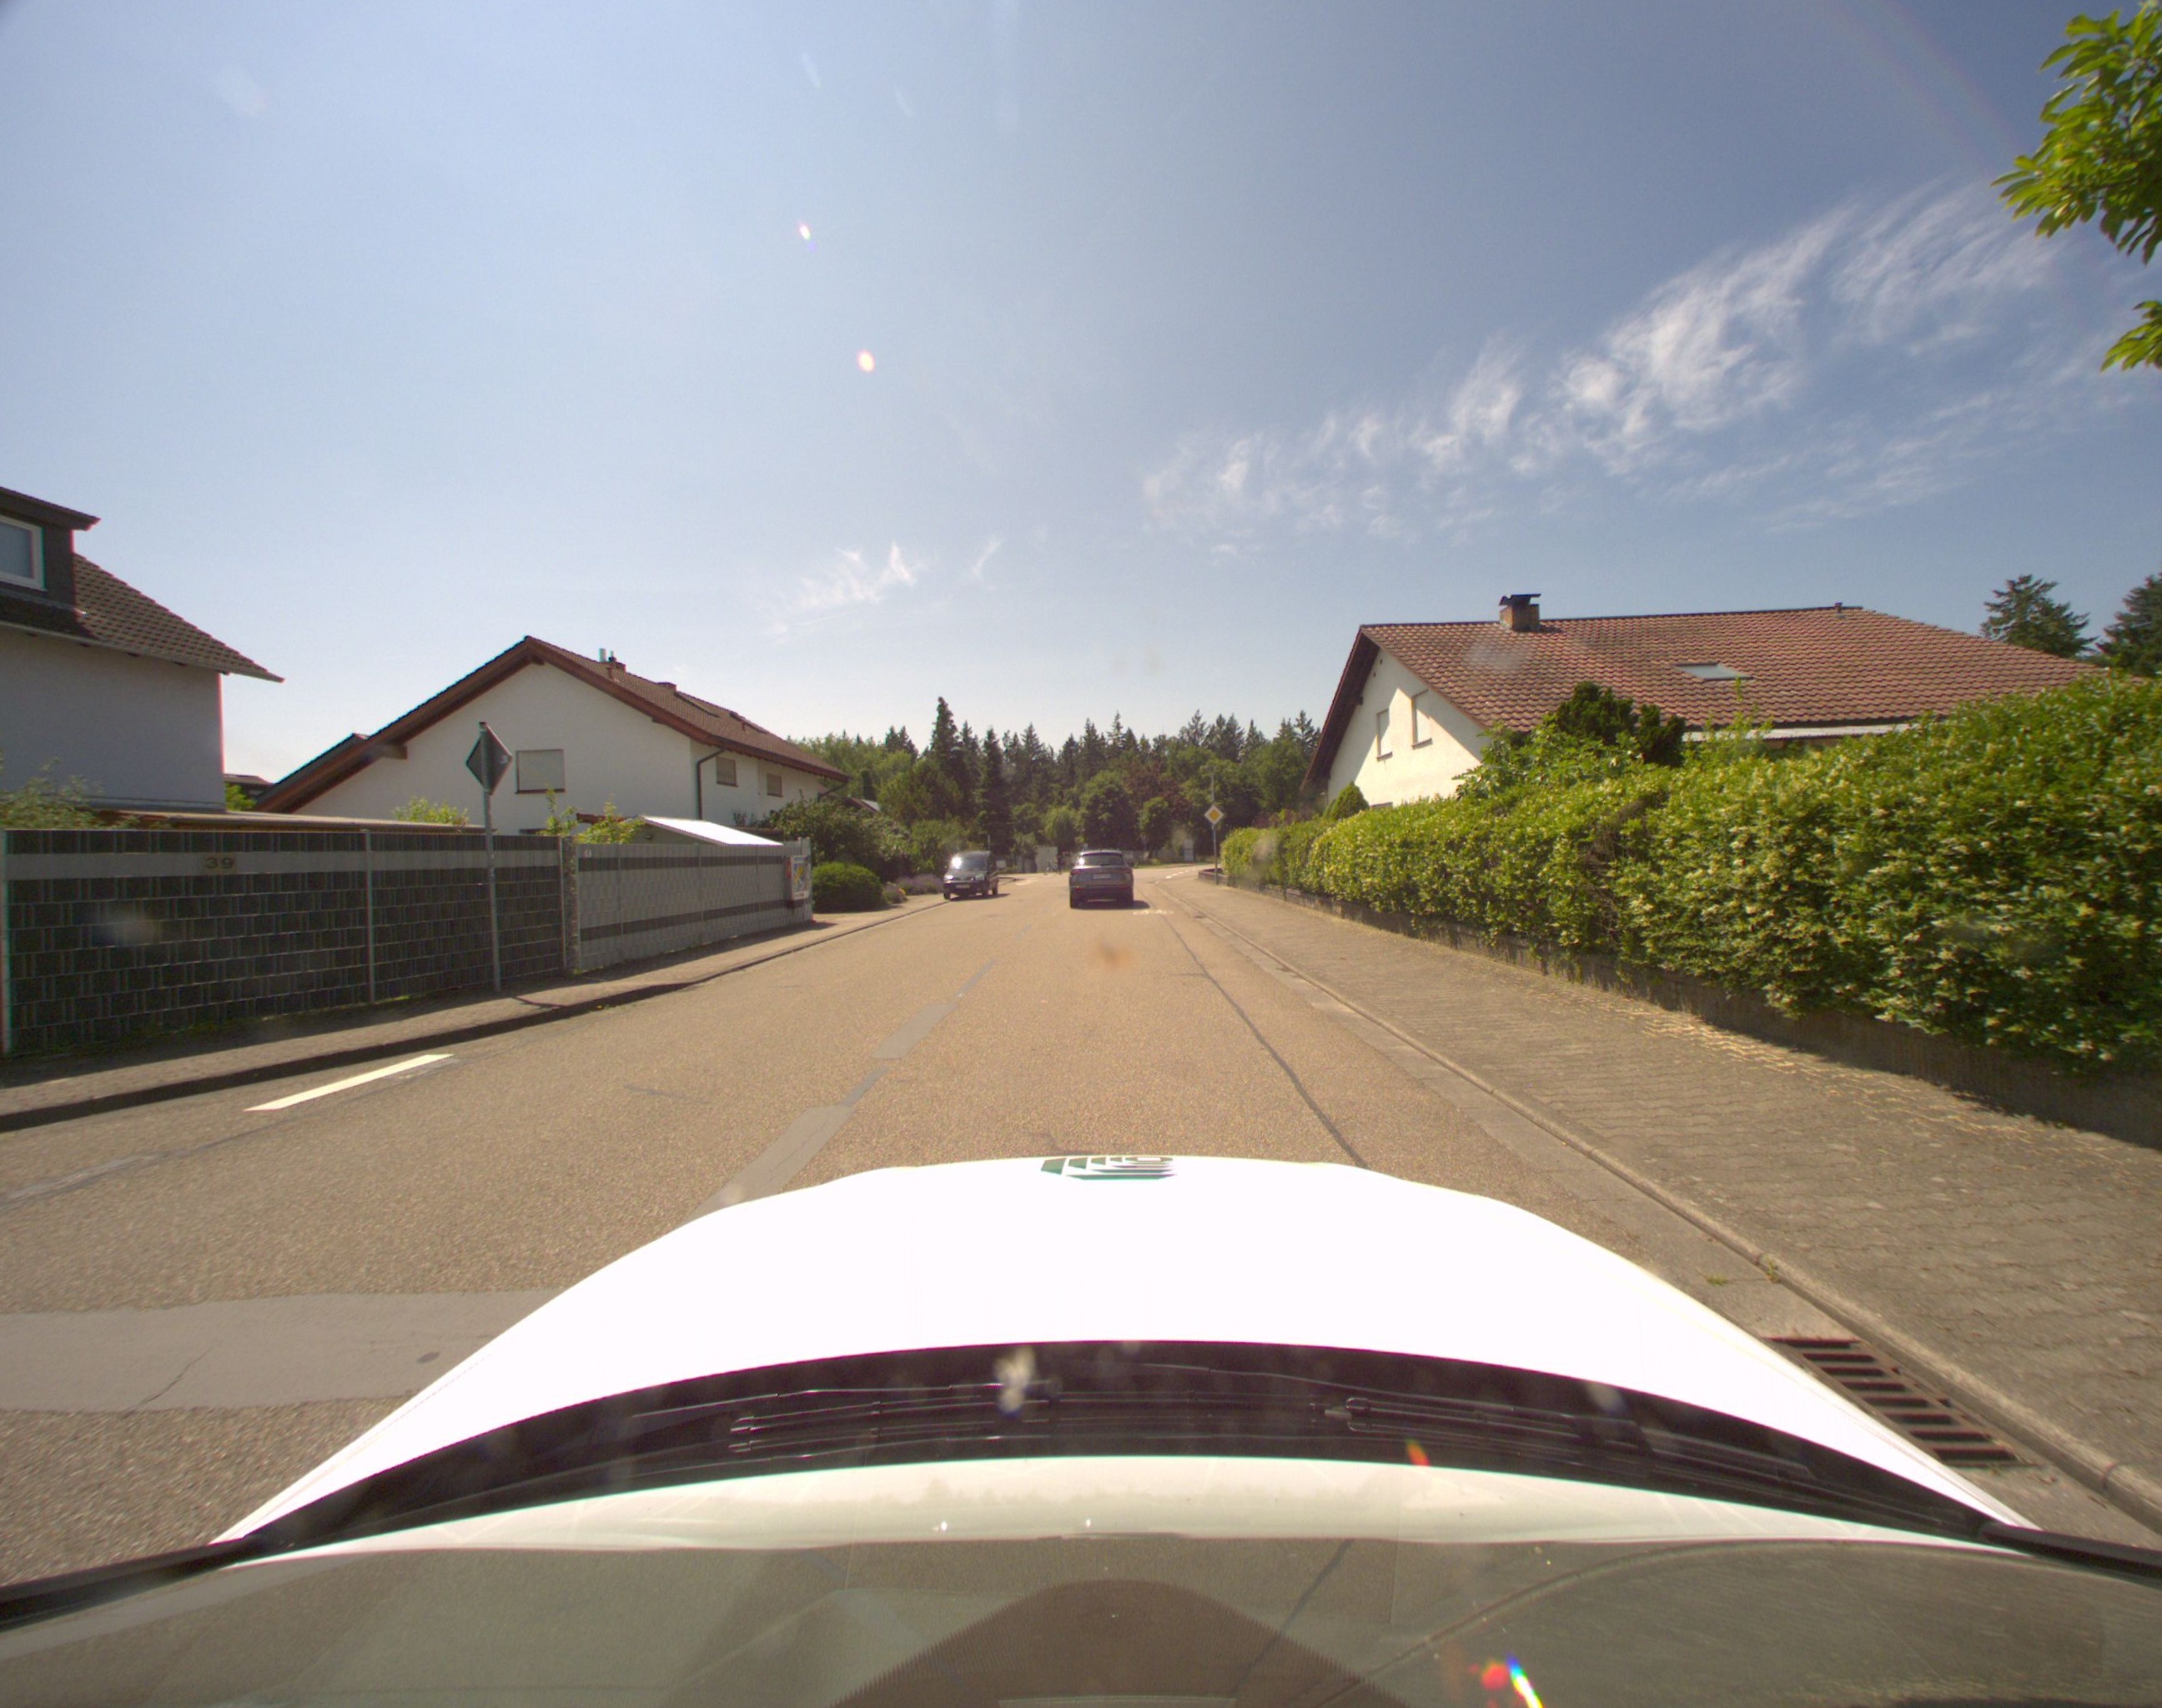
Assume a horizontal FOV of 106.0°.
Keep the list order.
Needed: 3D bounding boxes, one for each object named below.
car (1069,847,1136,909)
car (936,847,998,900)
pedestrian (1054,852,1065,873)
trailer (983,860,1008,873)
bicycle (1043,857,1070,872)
[{"bbox_3d":[0.597,0.632,23.633,1.756,1.618,4.000,-1,0,1],"label":"car"},{"bbox_3d":[-4.334,0.713,31.565,1.712,1.846,4.055,-2,0,1],"label":"car"},{"bbox_3d":[-1.534,0.592,59.101,0.611,1.501,0.501,-2,0,-18],"label":"pedestrian"},{"bbox_3d":[-7.800,1.129,74.381,2.212,1.084,1.104,-2,0,-6],"label":"trailer"},{"bbox_3d":[-1.802,0.759,59.509,1.847,0.964,0.441,-2,0,-17],"label":"bicycle"}]
